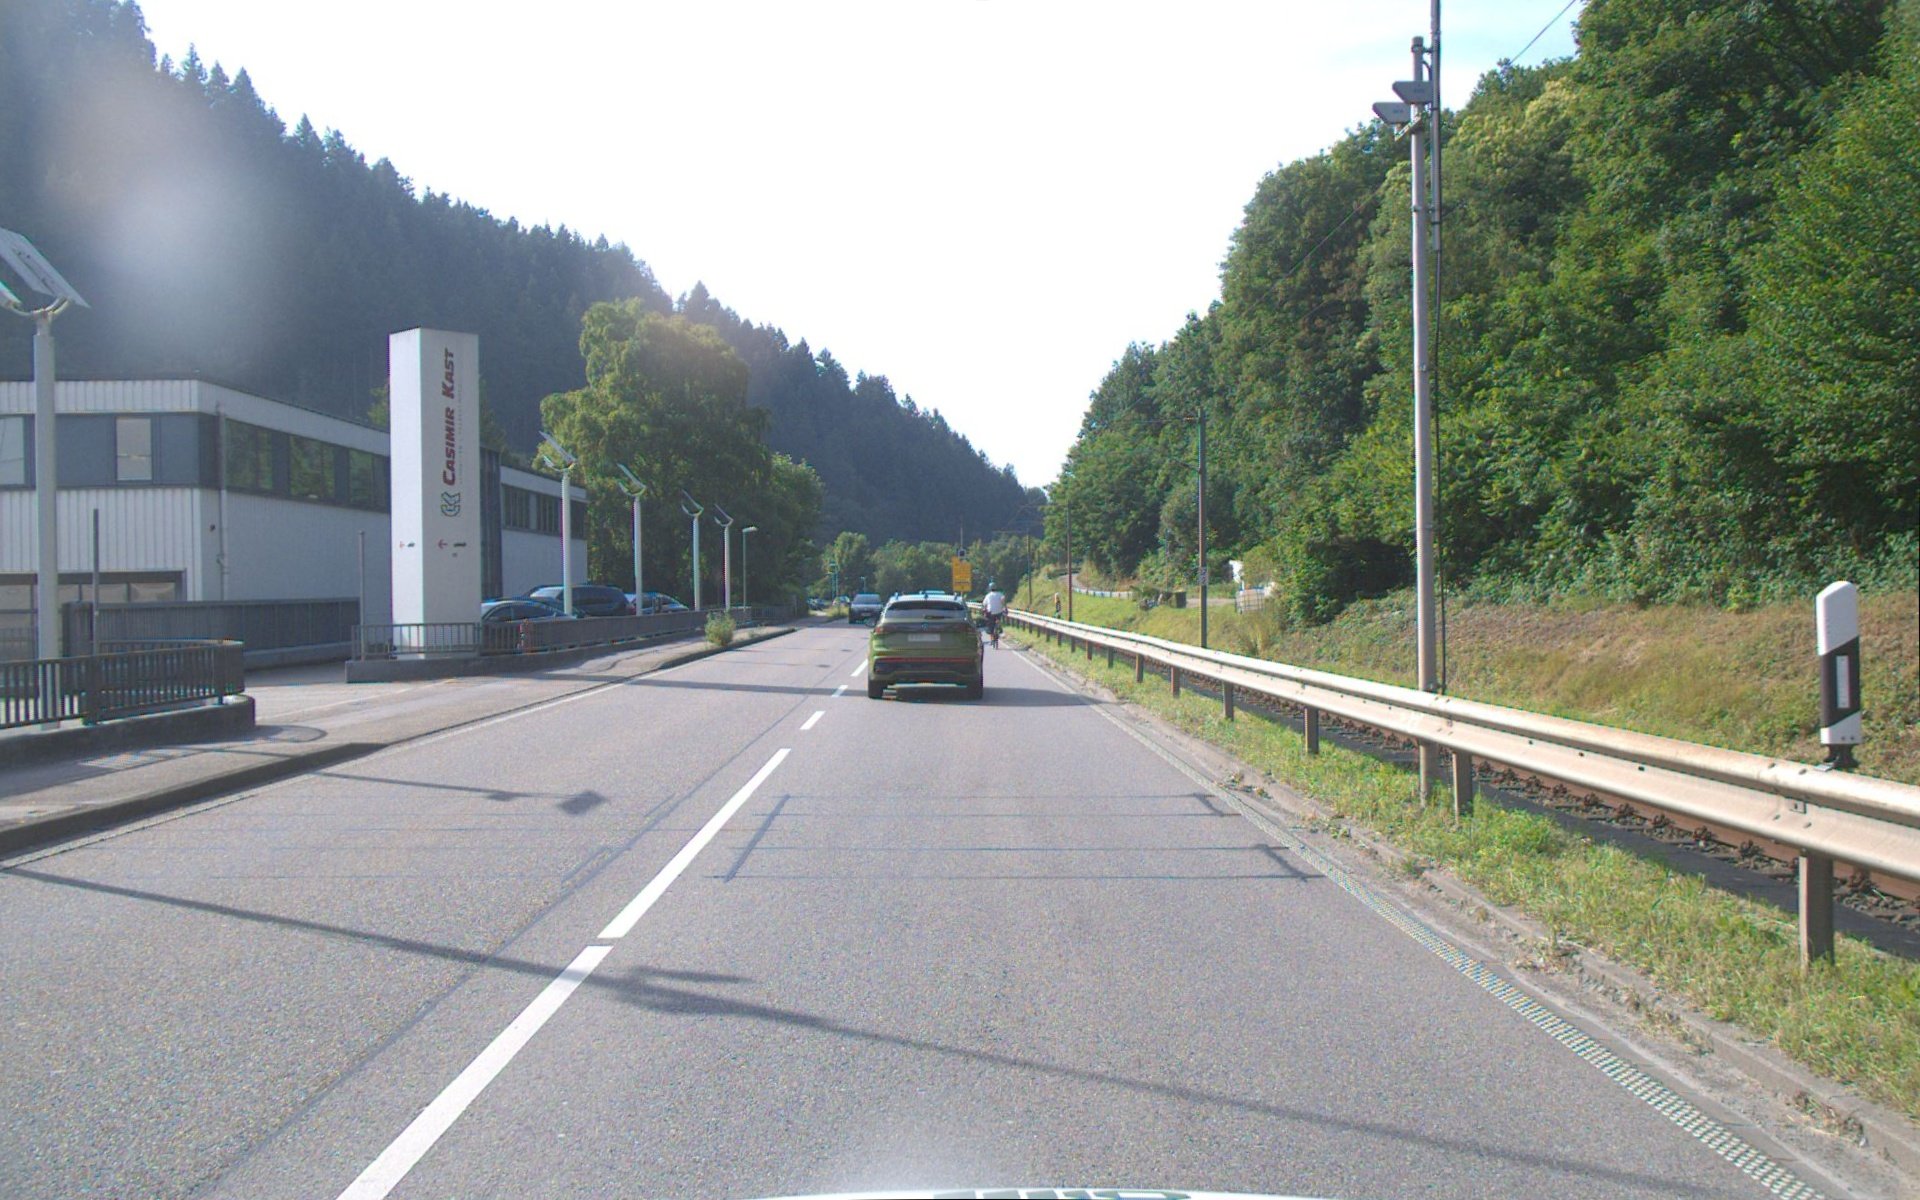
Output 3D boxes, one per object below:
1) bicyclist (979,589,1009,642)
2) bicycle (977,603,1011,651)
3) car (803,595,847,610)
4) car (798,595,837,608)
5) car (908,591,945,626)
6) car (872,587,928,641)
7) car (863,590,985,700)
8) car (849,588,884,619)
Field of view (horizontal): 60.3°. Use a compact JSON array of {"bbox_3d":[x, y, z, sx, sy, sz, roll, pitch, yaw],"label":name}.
[{"bbox_3d":[0.936,0.423,45.980,0.766,1.436,0.674,0,0,-3],"label":"bicyclist"},{"bbox_3d":[0.939,0.730,45.945,0.795,1.272,2.121,0,0,-3],"label":"bicycle"},{"bbox_3d":[-13.193,0.221,162.119,4.172,1.458,1.556,0,0,-1],"label":"car"},{"bbox_3d":[-15.721,0.158,183.019,4.172,1.458,1.556,0,0,-1],"label":"car"},{"bbox_3d":[-1.602,0.384,78.722,1.704,1.630,3.998,0,0,-2],"label":"car"},{"bbox_3d":[-1.902,0.421,52.596,1.704,1.630,3.998,0,0,-2],"label":"car"},{"bbox_3d":[-0.570,0.624,25.190,1.704,1.534,3.998,0,0,-2],"label":"car"},{"bbox_3d":[-4.759,0.186,84.647,1.643,1.511,4.245,1,0,-1],"label":"car"}]
